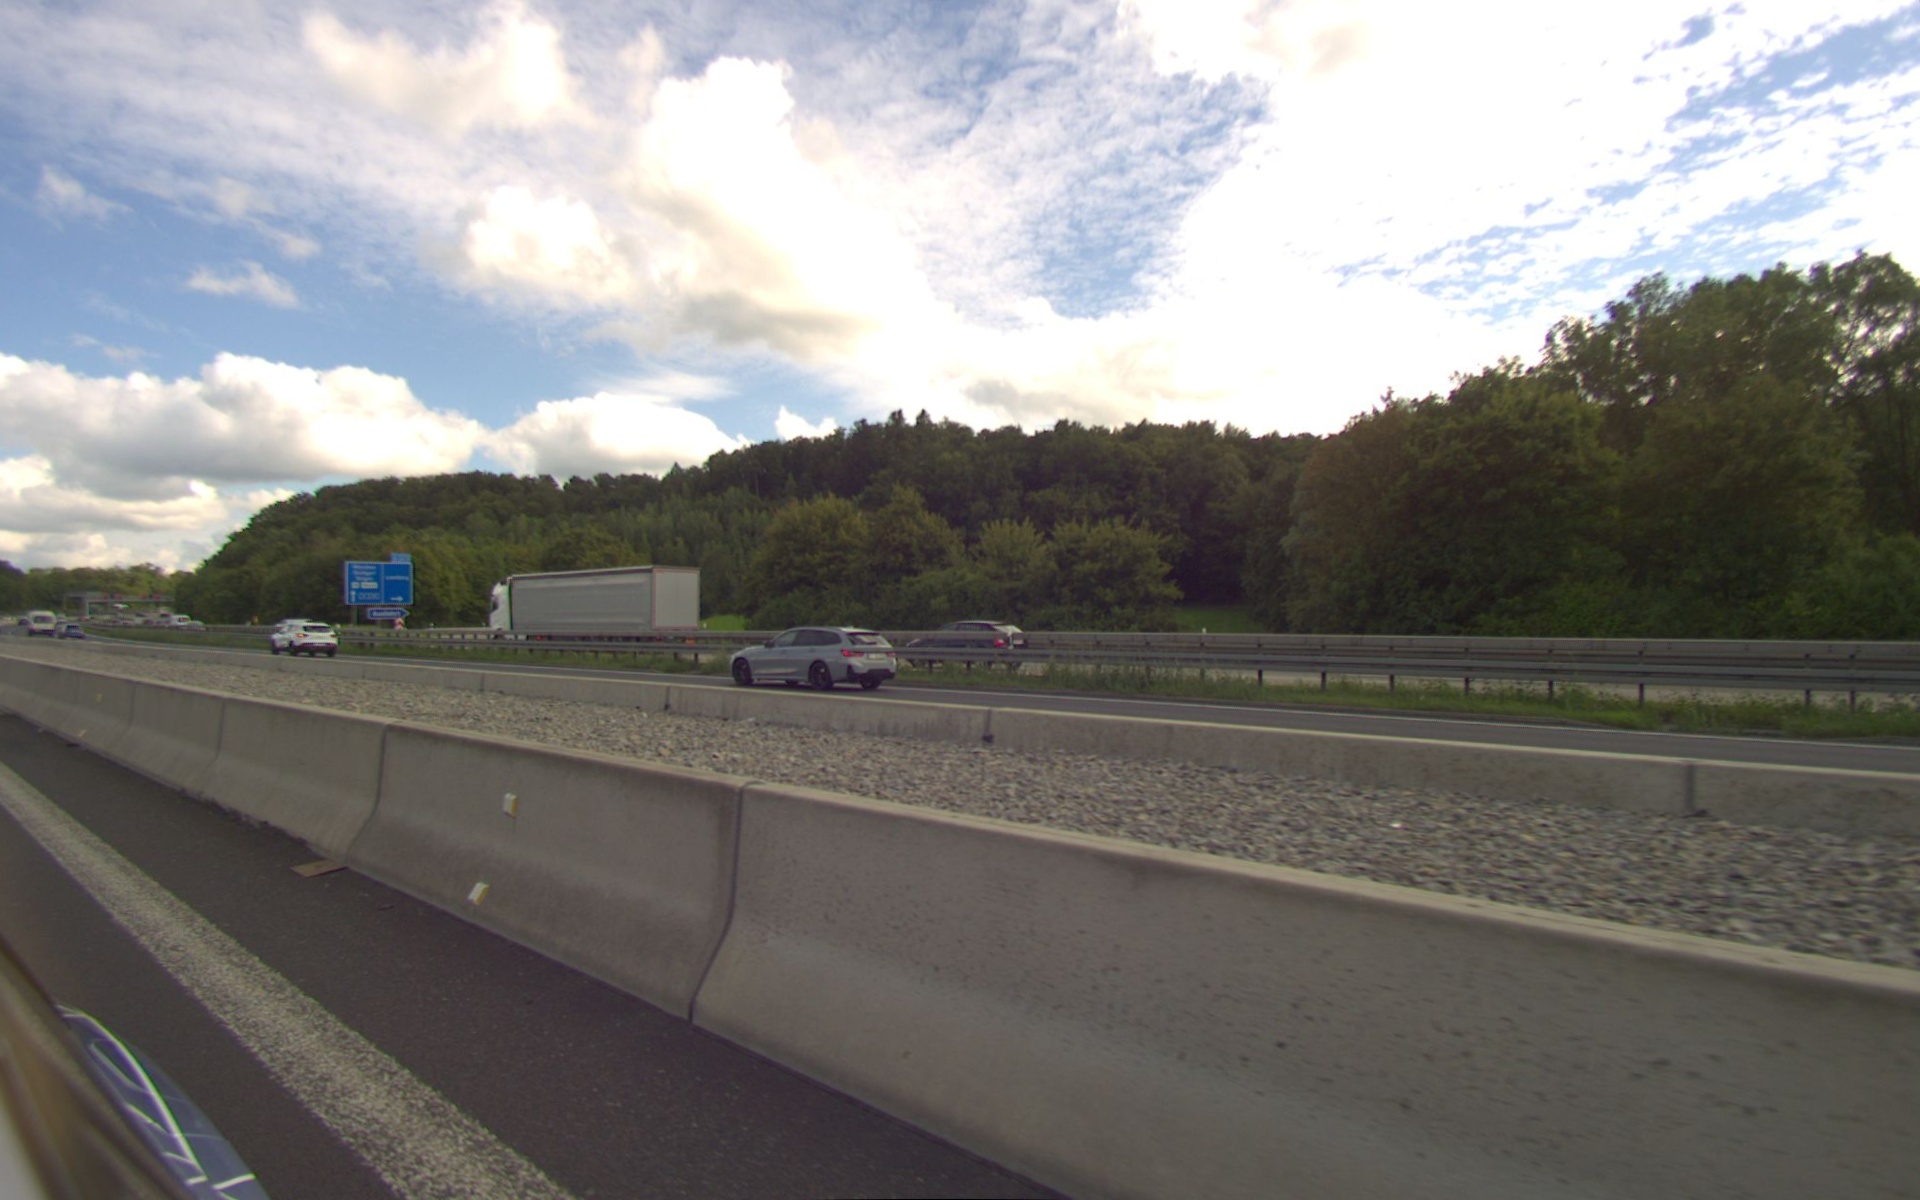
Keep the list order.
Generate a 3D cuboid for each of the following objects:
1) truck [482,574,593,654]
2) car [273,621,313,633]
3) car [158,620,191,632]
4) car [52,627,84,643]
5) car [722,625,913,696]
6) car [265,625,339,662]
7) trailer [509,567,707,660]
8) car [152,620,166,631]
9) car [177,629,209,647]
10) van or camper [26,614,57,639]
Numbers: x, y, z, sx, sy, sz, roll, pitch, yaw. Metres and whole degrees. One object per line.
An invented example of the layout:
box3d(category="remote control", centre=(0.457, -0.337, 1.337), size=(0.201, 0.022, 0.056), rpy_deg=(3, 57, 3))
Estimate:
box3d(category="truck", centre=(-23.018, 0.785, 54.992), size=(6.284, 4.097, 3.119), rpy_deg=(-1, -2, 41))
box3d(category="car", centre=(-106.321, 4.292, 161.358), size=(5.086, 1.937, 2.173), rpy_deg=(0, -1, 1))
box3d(category="car", centre=(-134.266, 4.384, 173.066), size=(5.115, 2.029, 1.988), rpy_deg=(0, -1, 19))
box3d(category="car", centre=(-84.266, 3.296, 95.599), size=(4.208, 1.432, 1.731), rpy_deg=(-1, -2, 42))
box3d(category="car", centre=(-3.477, 1.357, 24.024), size=(4.994, 1.506, 1.628), rpy_deg=(-1, -2, 41))
box3d(category="car", centre=(-31.027, 2.025, 47.681), size=(4.753, 1.643, 1.779), rpy_deg=(-1, -2, 42))
box3d(category="trailer", centre=(-17.865, 0.689, 50.492), size=(13.380, 4.124, 3.119), rpy_deg=(-1, -2, 41))
box3d(category="car", centre=(-151.658, 4.888, 191.580), size=(1.969, 2.029, 4.006), rpy_deg=(1, -2, -41))
box3d(category="car", centre=(-78.045, 3.849, 103.009), size=(4.001, 1.852, 1.971), rpy_deg=(-1, -2, 44))
box3d(category="van or camper", centre=(-96.052, 2.779, 105.791), size=(2.076, 2.554, 5.425), rpy_deg=(2, -2, -45))
